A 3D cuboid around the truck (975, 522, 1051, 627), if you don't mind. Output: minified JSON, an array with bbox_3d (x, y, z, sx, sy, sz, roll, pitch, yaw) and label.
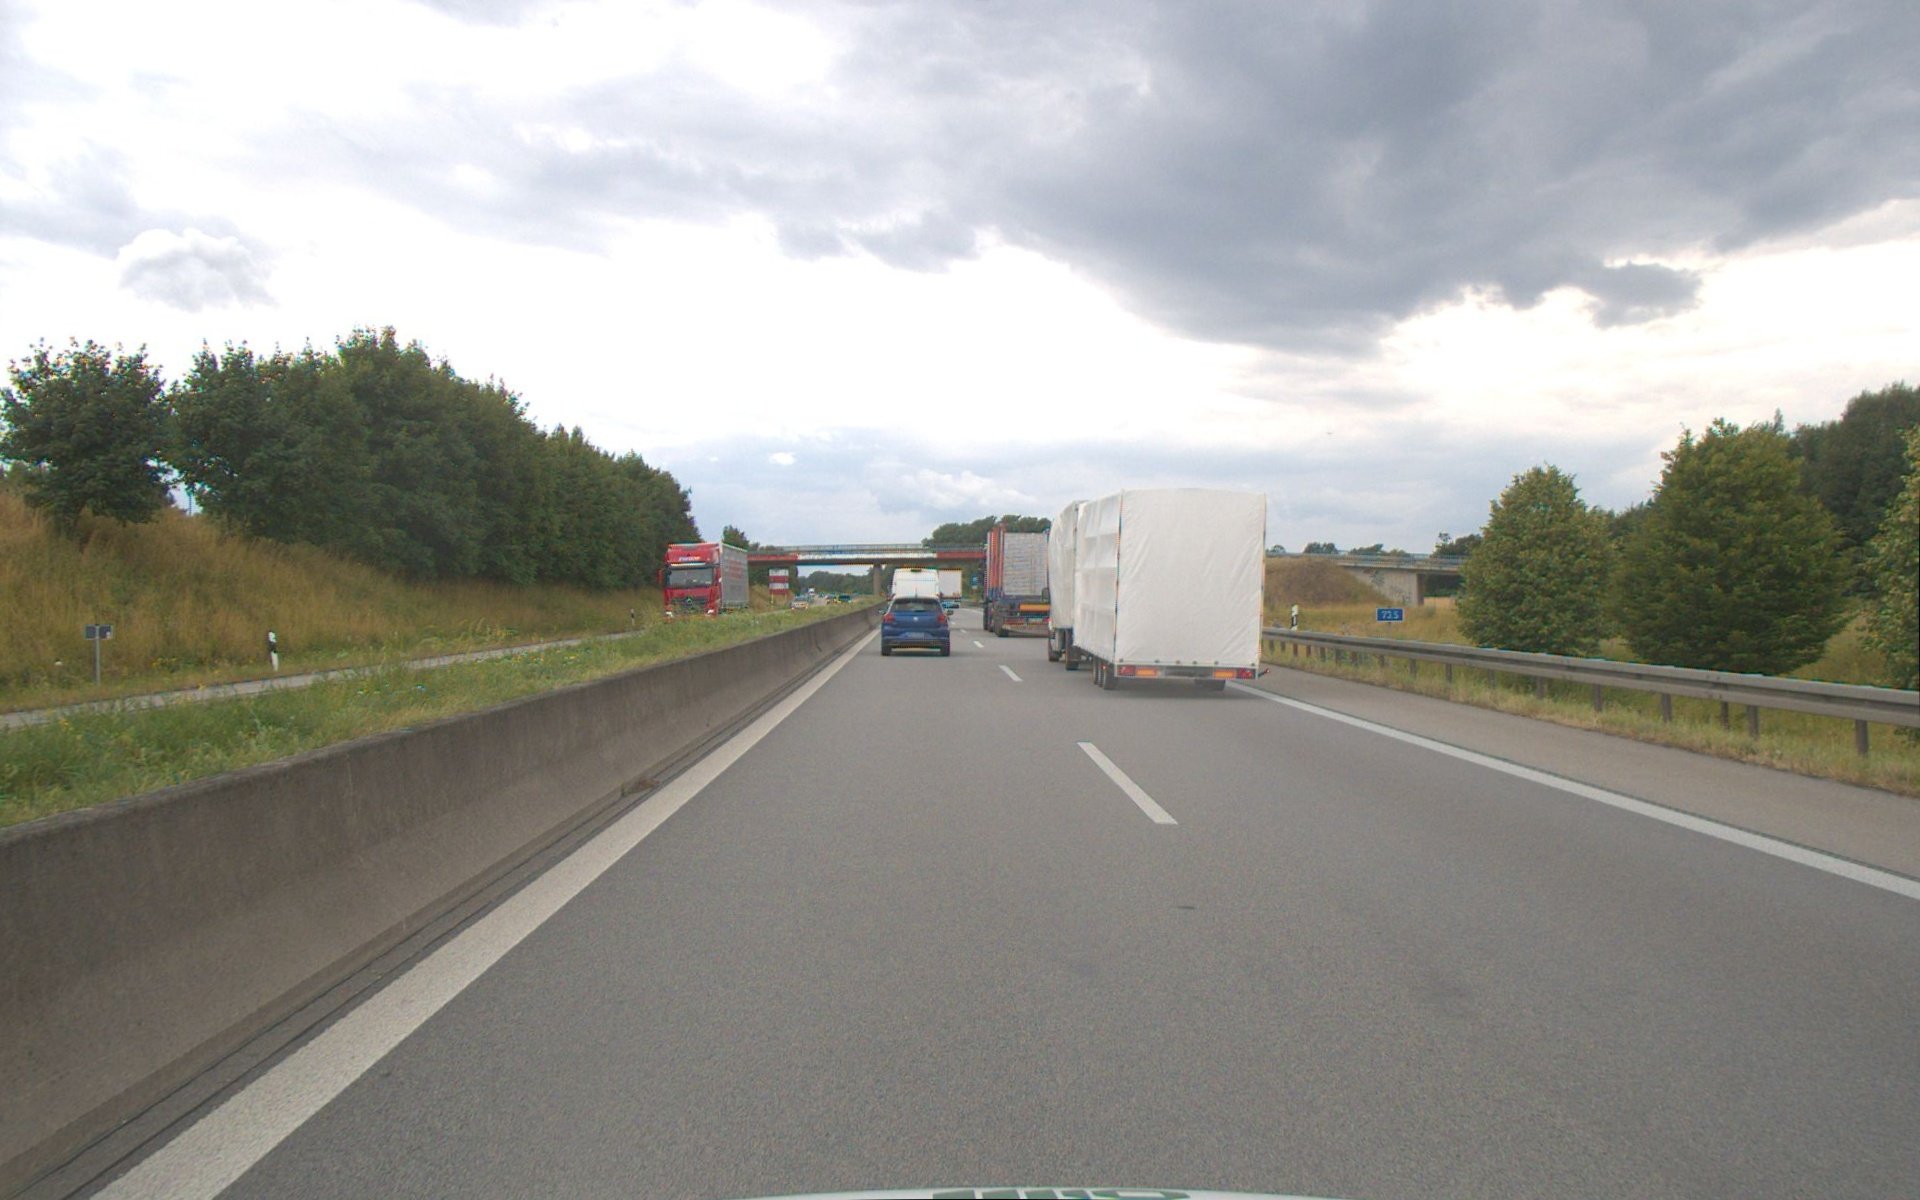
[{"bbox_3d":[2.093,-1.036,67.732,2.620,4.116,5.509,-1,1,-3],"label":"truck"}]

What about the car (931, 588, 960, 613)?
[{"bbox_3d":[-0.877,0.025,99.187,1.630,1.431,3.647,0,1,-2],"label":"car"}]

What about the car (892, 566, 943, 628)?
[{"bbox_3d":[-1.834,-0.125,70.479,2.087,2.526,5.837,0,0,-2],"label":"car"}]

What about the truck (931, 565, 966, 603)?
[{"bbox_3d":[-1.269,-1.647,176.042,3.049,3.754,9.316,-2,0,-4],"label":"truck"}]

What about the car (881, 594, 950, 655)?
[{"bbox_3d":[-1.105,0.570,41.139,1.630,1.431,3.647,0,1,-2],"label":"car"}]

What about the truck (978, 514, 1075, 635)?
[{"bbox_3d":[2.338,-0.962,62.340,2.620,4.116,11.101,-1,1,-3],"label":"truck"}]

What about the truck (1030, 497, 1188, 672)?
[{"bbox_3d":[2.971,-0.306,34.913,2.381,3.300,7.243,0,0,-3],"label":"truck"}]

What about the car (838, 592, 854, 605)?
[{"bbox_3d":[-14.101,-0.191,204.417,1.811,1.402,4.598,-3,0,-2],"label":"car"}]

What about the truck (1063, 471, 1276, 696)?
[{"bbox_3d":[3.284,-0.256,27.717,2.367,3.278,7.140,0,0,-3],"label":"truck"}]

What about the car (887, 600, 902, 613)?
[{"bbox_3d":[-8.673,0.820,219.455,1.953,1.713,3.998,0,0,-2],"label":"car"}]

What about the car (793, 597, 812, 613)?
[{"bbox_3d":[-15.211,0.466,159.623,1.613,1.434,3.886,-3,0,-3],"label":"car"}]

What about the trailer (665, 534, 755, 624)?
[{"bbox_3d":[-12.727,-1.088,85.439,2.652,4.159,14.593,-2,1,-1],"label":"trailer"}]

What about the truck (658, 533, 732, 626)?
[{"bbox_3d":[-12.505,-0.959,78.518,2.652,4.159,5.163,-2,1,-2],"label":"truck"}]
